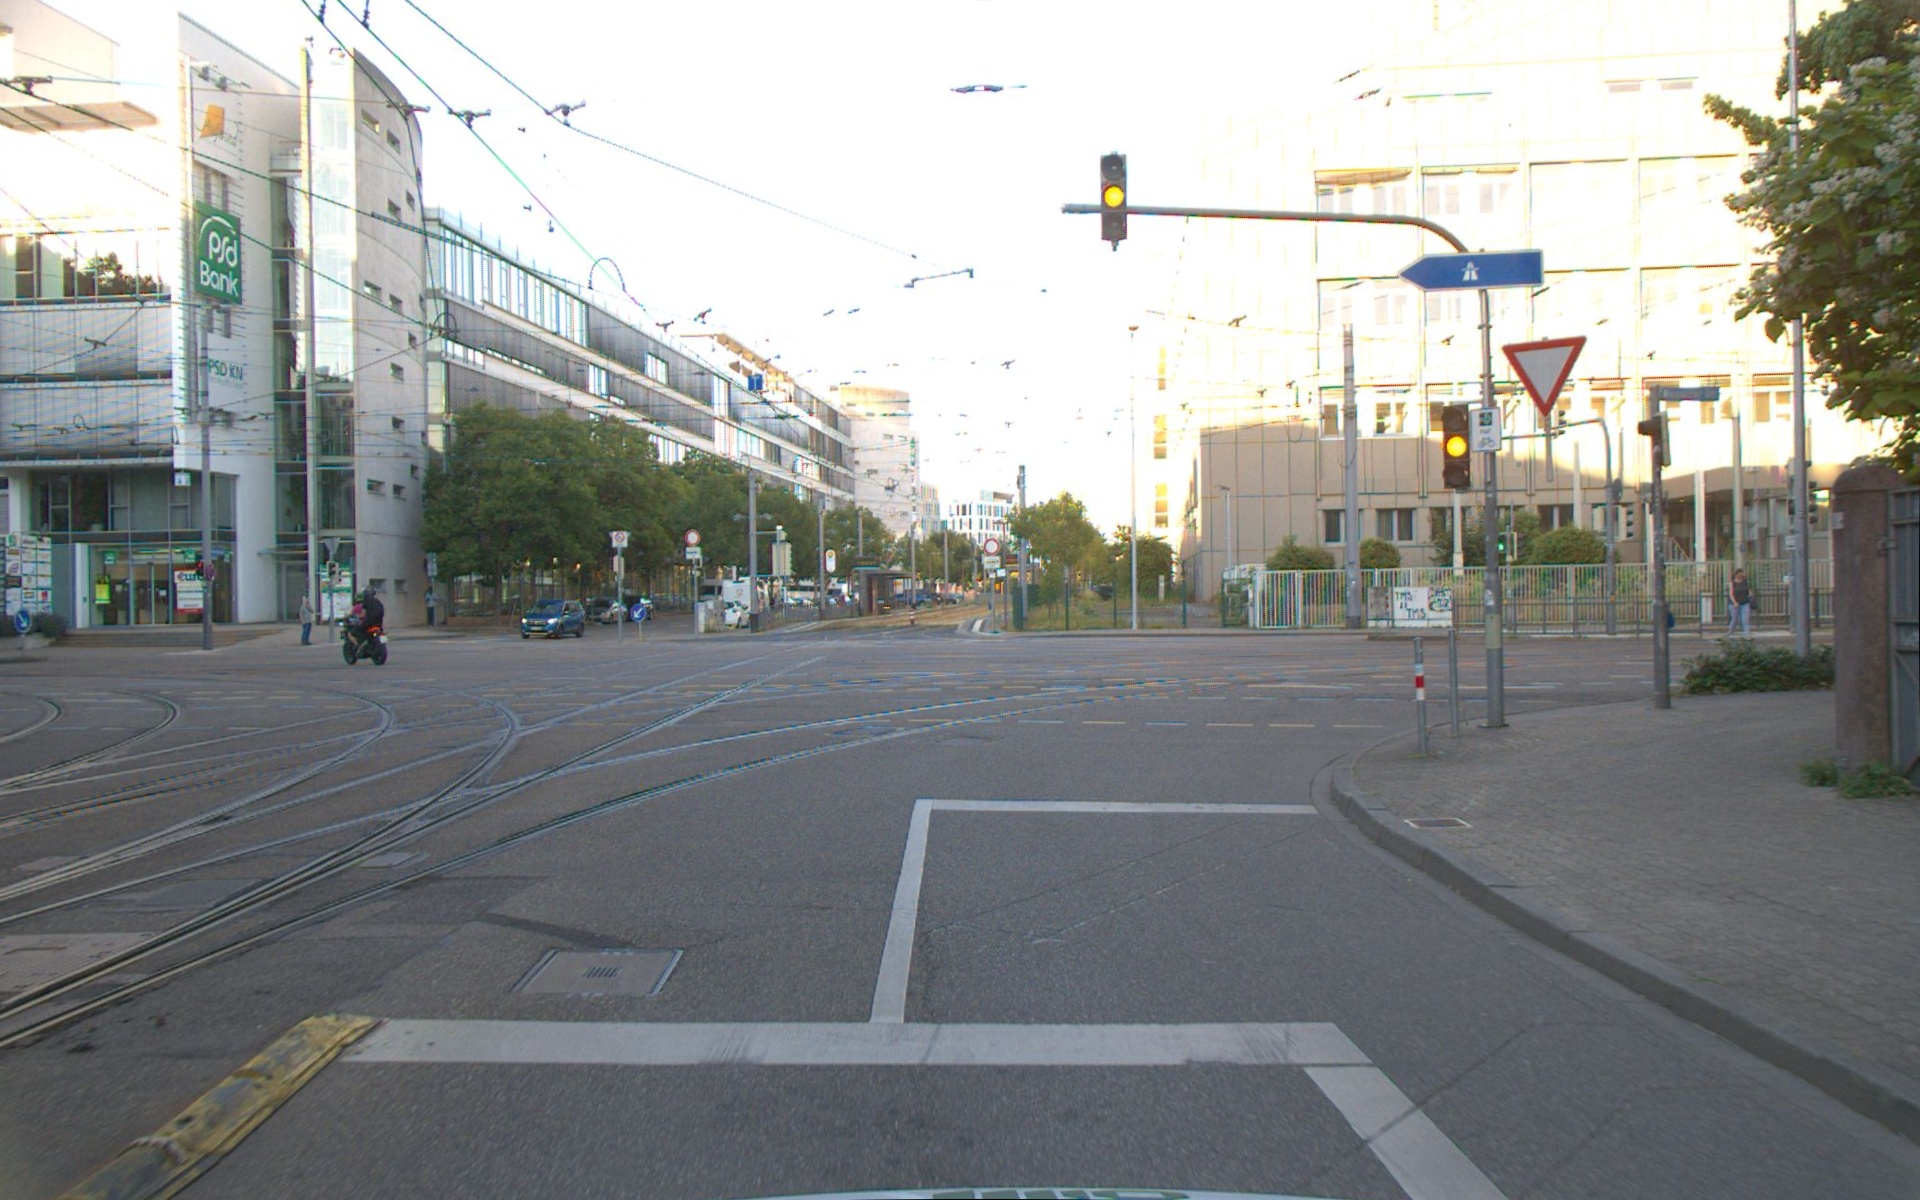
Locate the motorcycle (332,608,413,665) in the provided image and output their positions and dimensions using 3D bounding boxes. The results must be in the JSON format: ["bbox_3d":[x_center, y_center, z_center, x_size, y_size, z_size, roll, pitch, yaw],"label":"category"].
[{"bbox_3d":[-13.695,0.830,38.486,0.825,1.261,2.450,-1,0,-44],"label":"motorcycle"}]

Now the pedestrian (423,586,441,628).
[{"bbox_3d":[-25.175,0.343,78.839,0.649,1.956,0.547,-2,0,-6],"label":"pedestrian"}]

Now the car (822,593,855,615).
[{"bbox_3d":[-8.539,0.251,116.952,1.647,1.464,4.128,-1,0,5],"label":"car"}]

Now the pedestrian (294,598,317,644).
[{"bbox_3d":[-25.012,0.815,63.211,0.535,1.741,0.660,-1,0,15],"label":"pedestrian"}]

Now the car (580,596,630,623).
[{"bbox_3d":[-21.006,0.559,97.915,1.647,1.528,4.242,-1,0,6],"label":"car"}]

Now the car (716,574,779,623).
[{"bbox_3d":[-11.413,-0.085,89.266,2.410,2.526,5.809,-1,0,2],"label":"car"}]

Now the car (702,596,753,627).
[{"bbox_3d":[-11.715,0.575,83.591,1.647,1.464,4.128,-1,0,5],"label":"car"}]

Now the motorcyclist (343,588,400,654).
[{"bbox_3d":[-13.688,0.485,38.473,0.825,1.499,1.187,-1,0,-45],"label":"motorcyclist"}]

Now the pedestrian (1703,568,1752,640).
[{"bbox_3d":[17.840,0.094,38.480,0.738,1.644,0.829,-1,0,1],"label":"pedestrian"}]

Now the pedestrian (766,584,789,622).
[{"bbox_3d":[-9.967,0.167,90.251,1.025,2.066,0.977,-1,0,-22],"label":"pedestrian"}]

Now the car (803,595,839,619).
[{"bbox_3d":[-9.117,0.440,108.589,1.647,1.464,4.128,-1,0,5],"label":"car"}]

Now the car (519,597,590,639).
[{"bbox_3d":[-17.989,0.772,73.510,1.647,1.729,4.242,-1,0,7],"label":"car"}]

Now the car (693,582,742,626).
[{"bbox_3d":[-18.422,0.272,125.822,2.155,3.207,6.147,-1,0,6],"label":"car"}]
